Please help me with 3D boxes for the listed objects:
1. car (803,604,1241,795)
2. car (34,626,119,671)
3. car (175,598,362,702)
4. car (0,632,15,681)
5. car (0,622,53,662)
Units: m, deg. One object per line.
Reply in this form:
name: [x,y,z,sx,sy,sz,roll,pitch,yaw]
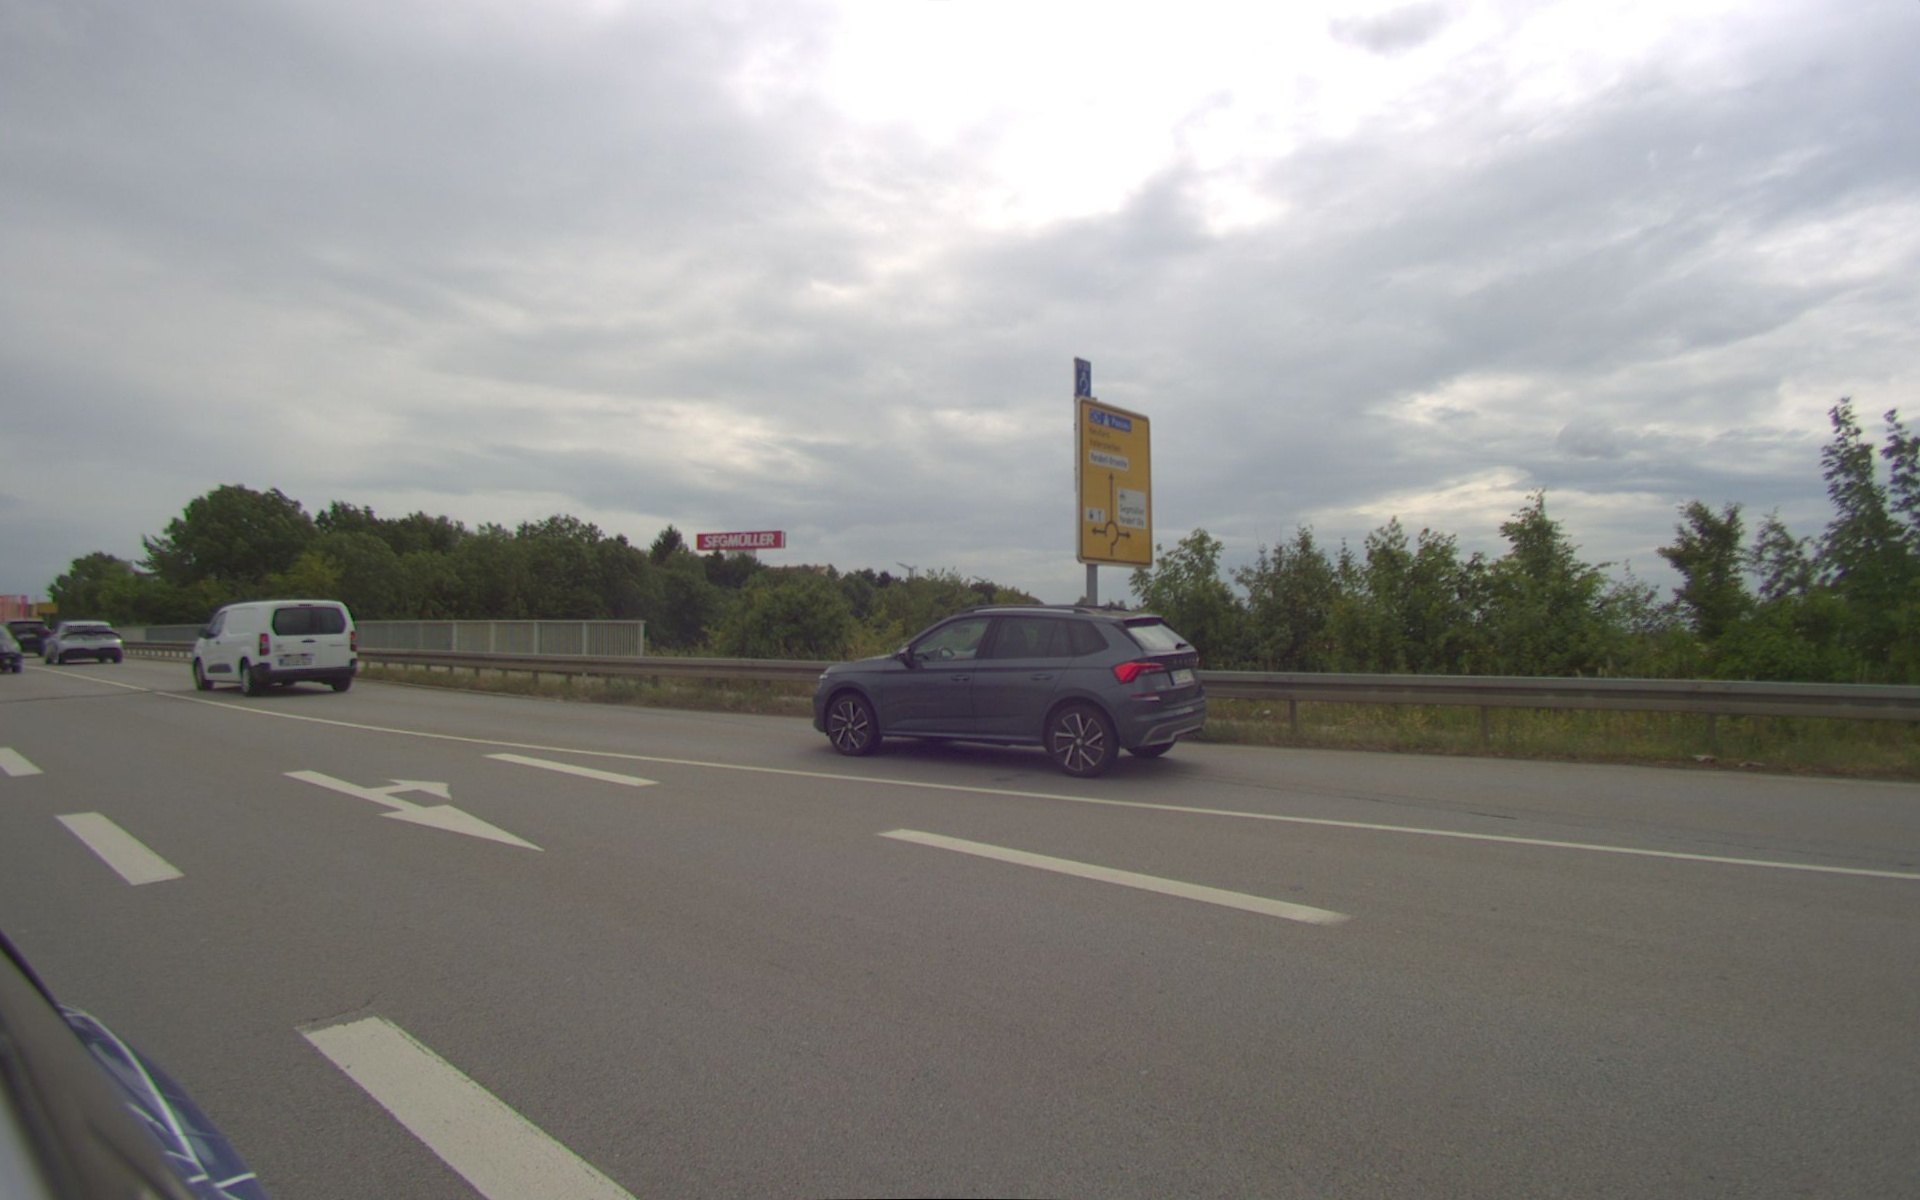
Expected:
car: [0.516,0.848,10.079,4.133,1.569,1.570,-1,-1,33]
car: [-31.720,1.689,36.308,4.276,1.498,1.694,-1,-1,40]
car: [-14.280,0.965,20.792,4.816,1.889,1.934,-1,-1,40]
car: [-28.607,1.608,29.251,3.822,1.364,1.559,-2,-2,42]
car: [-43.159,1.877,46.354,4.762,1.745,1.972,-1,-1,43]
